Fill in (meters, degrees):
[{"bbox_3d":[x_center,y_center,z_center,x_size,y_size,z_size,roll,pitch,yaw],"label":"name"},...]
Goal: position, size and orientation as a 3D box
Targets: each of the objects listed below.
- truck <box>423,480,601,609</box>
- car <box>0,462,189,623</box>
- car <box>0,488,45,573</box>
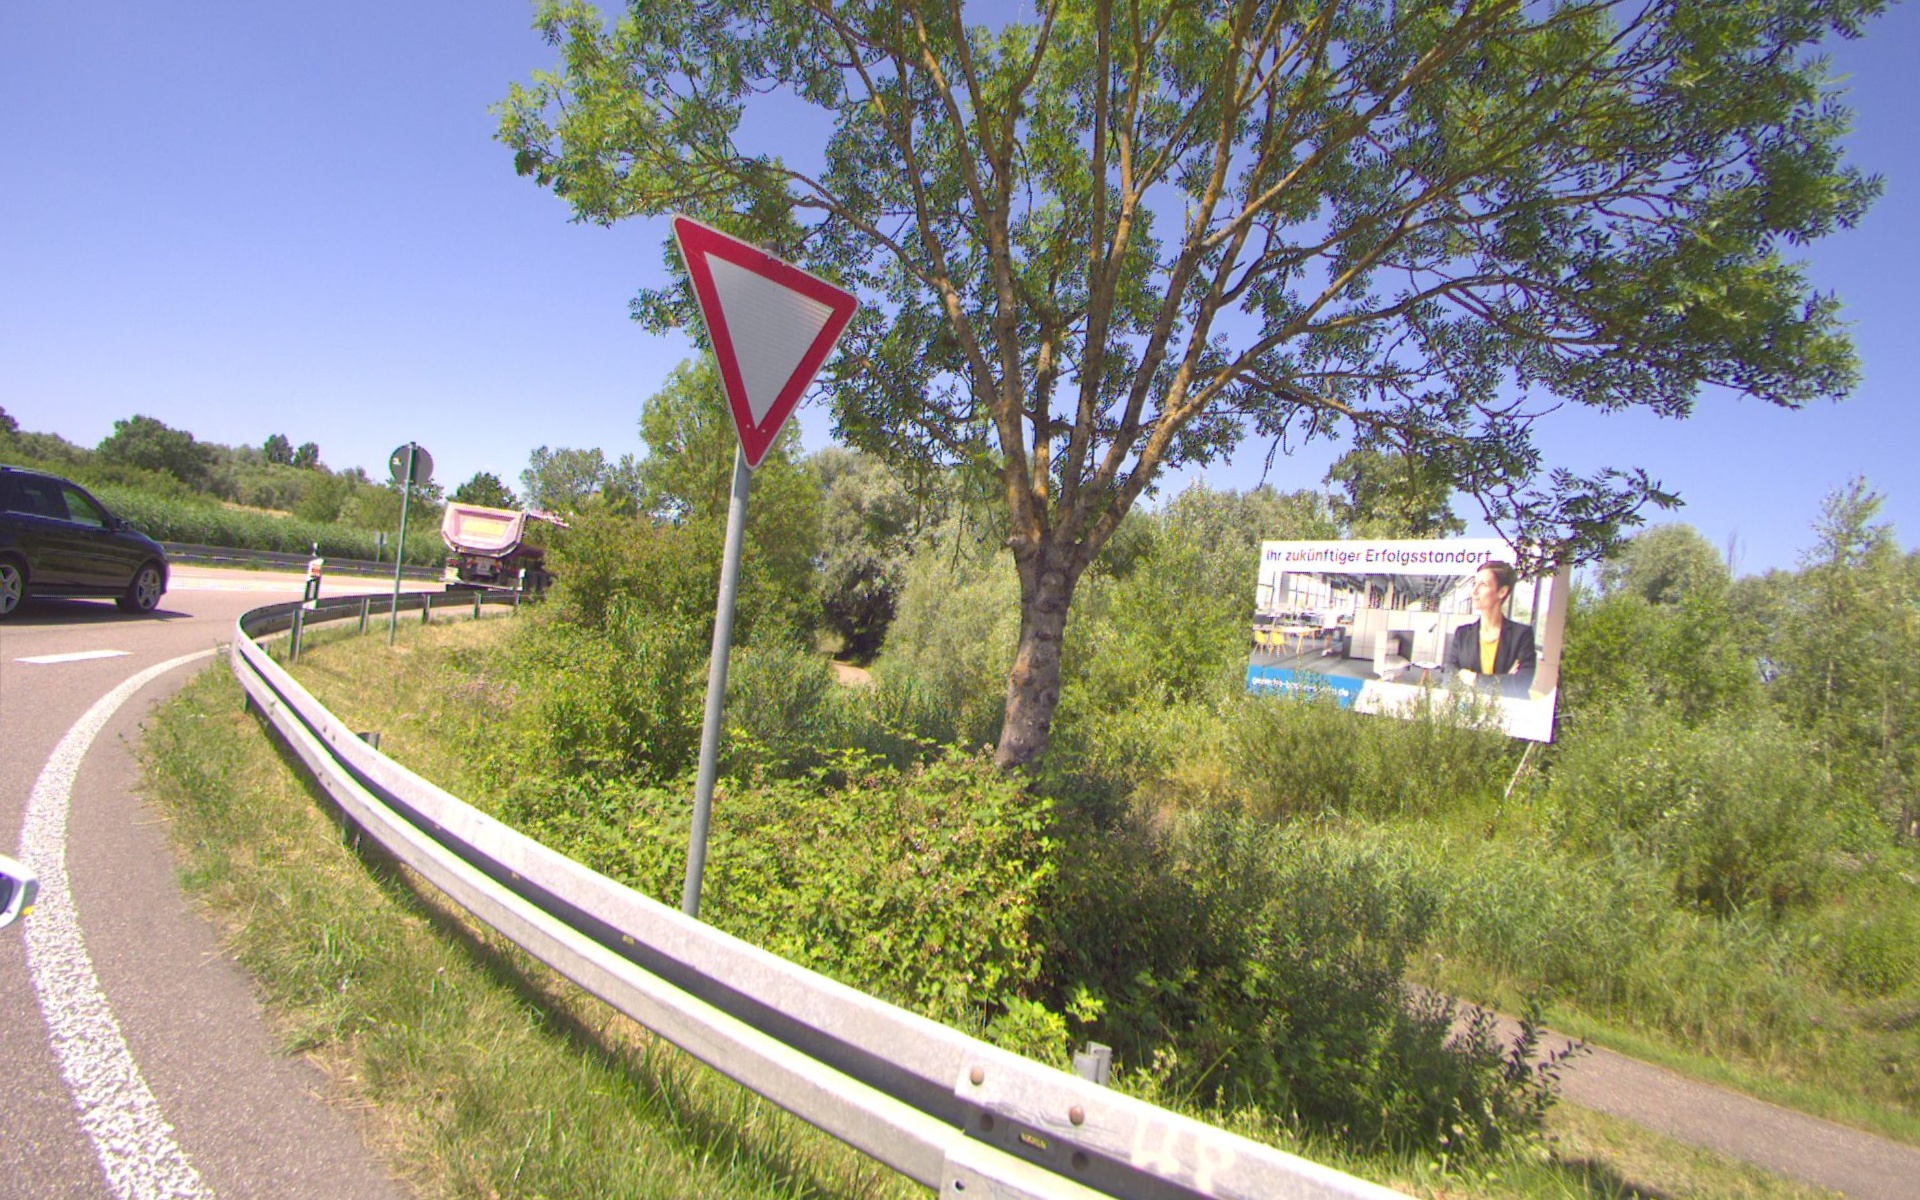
[{"bbox_3d":[-16.643,-1.855,38.571,2.794,3.869,11.866,6,0,-8],"label":"truck"},{"bbox_3d":[-11.938,-0.755,12.438,1.903,1.788,4.587,7,-1,-13],"label":"car"},{"bbox_3d":[-19.816,-1.483,18.643,1.899,1.652,4.235,7,0,-4],"label":"car"}]
